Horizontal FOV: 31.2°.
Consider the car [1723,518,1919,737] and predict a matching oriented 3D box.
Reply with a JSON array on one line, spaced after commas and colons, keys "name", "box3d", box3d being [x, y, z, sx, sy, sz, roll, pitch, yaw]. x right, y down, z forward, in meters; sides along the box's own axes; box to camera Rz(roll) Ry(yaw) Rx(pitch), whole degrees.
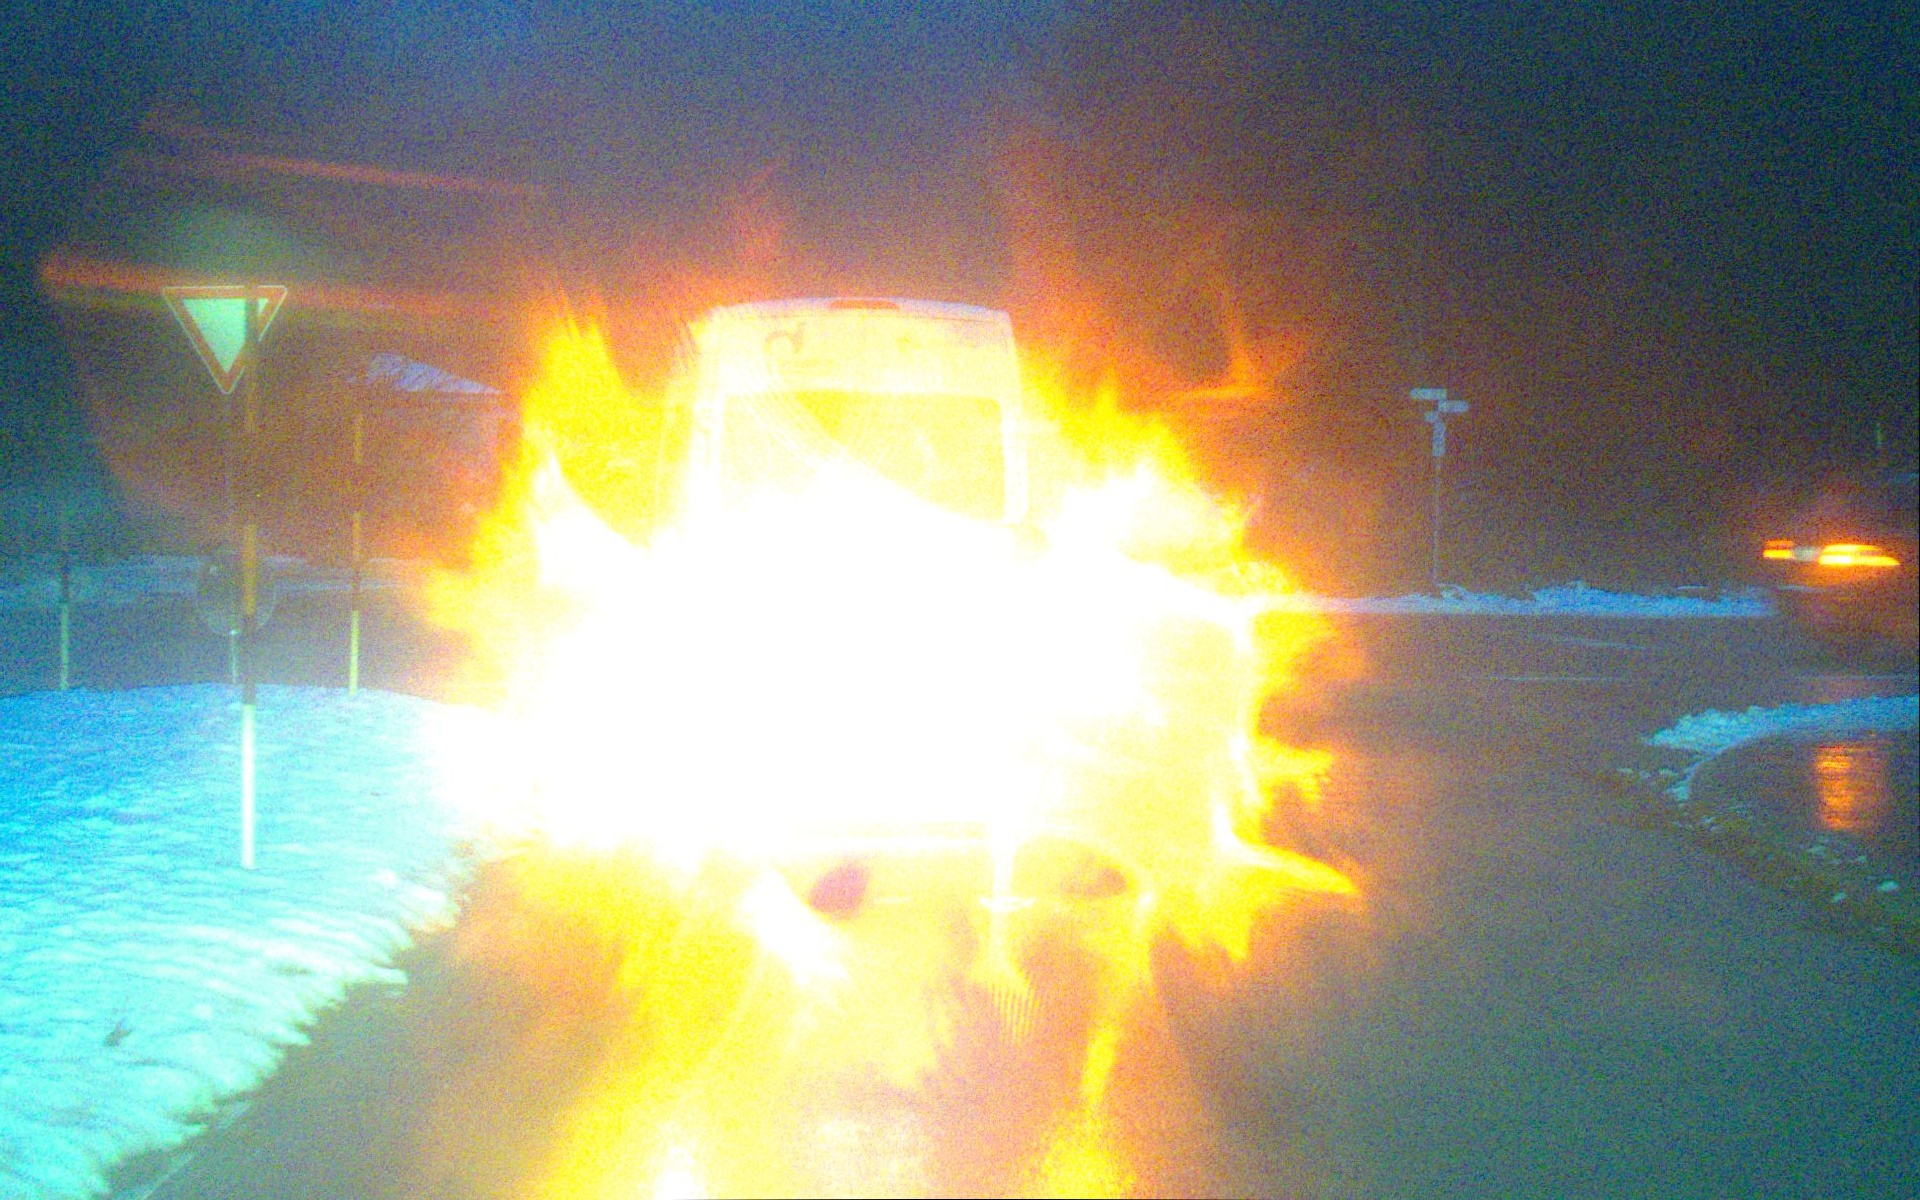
[{"name": "car", "box3d": [9.813, 0.281, 31.980, 5.002, 1.939, 1.685, 1, 0, -12]}]

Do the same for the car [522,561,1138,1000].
[{"name": "car", "box3d": [-0.457, 0.551, 12.859, 1.922, 1.272, 4.001, 1, 2, -1]}]

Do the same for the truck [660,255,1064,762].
[{"name": "truck", "box3d": [-0.765, -0.531, 21.566, 2.075, 2.736, 5.320, 1, 1, -6]}]
